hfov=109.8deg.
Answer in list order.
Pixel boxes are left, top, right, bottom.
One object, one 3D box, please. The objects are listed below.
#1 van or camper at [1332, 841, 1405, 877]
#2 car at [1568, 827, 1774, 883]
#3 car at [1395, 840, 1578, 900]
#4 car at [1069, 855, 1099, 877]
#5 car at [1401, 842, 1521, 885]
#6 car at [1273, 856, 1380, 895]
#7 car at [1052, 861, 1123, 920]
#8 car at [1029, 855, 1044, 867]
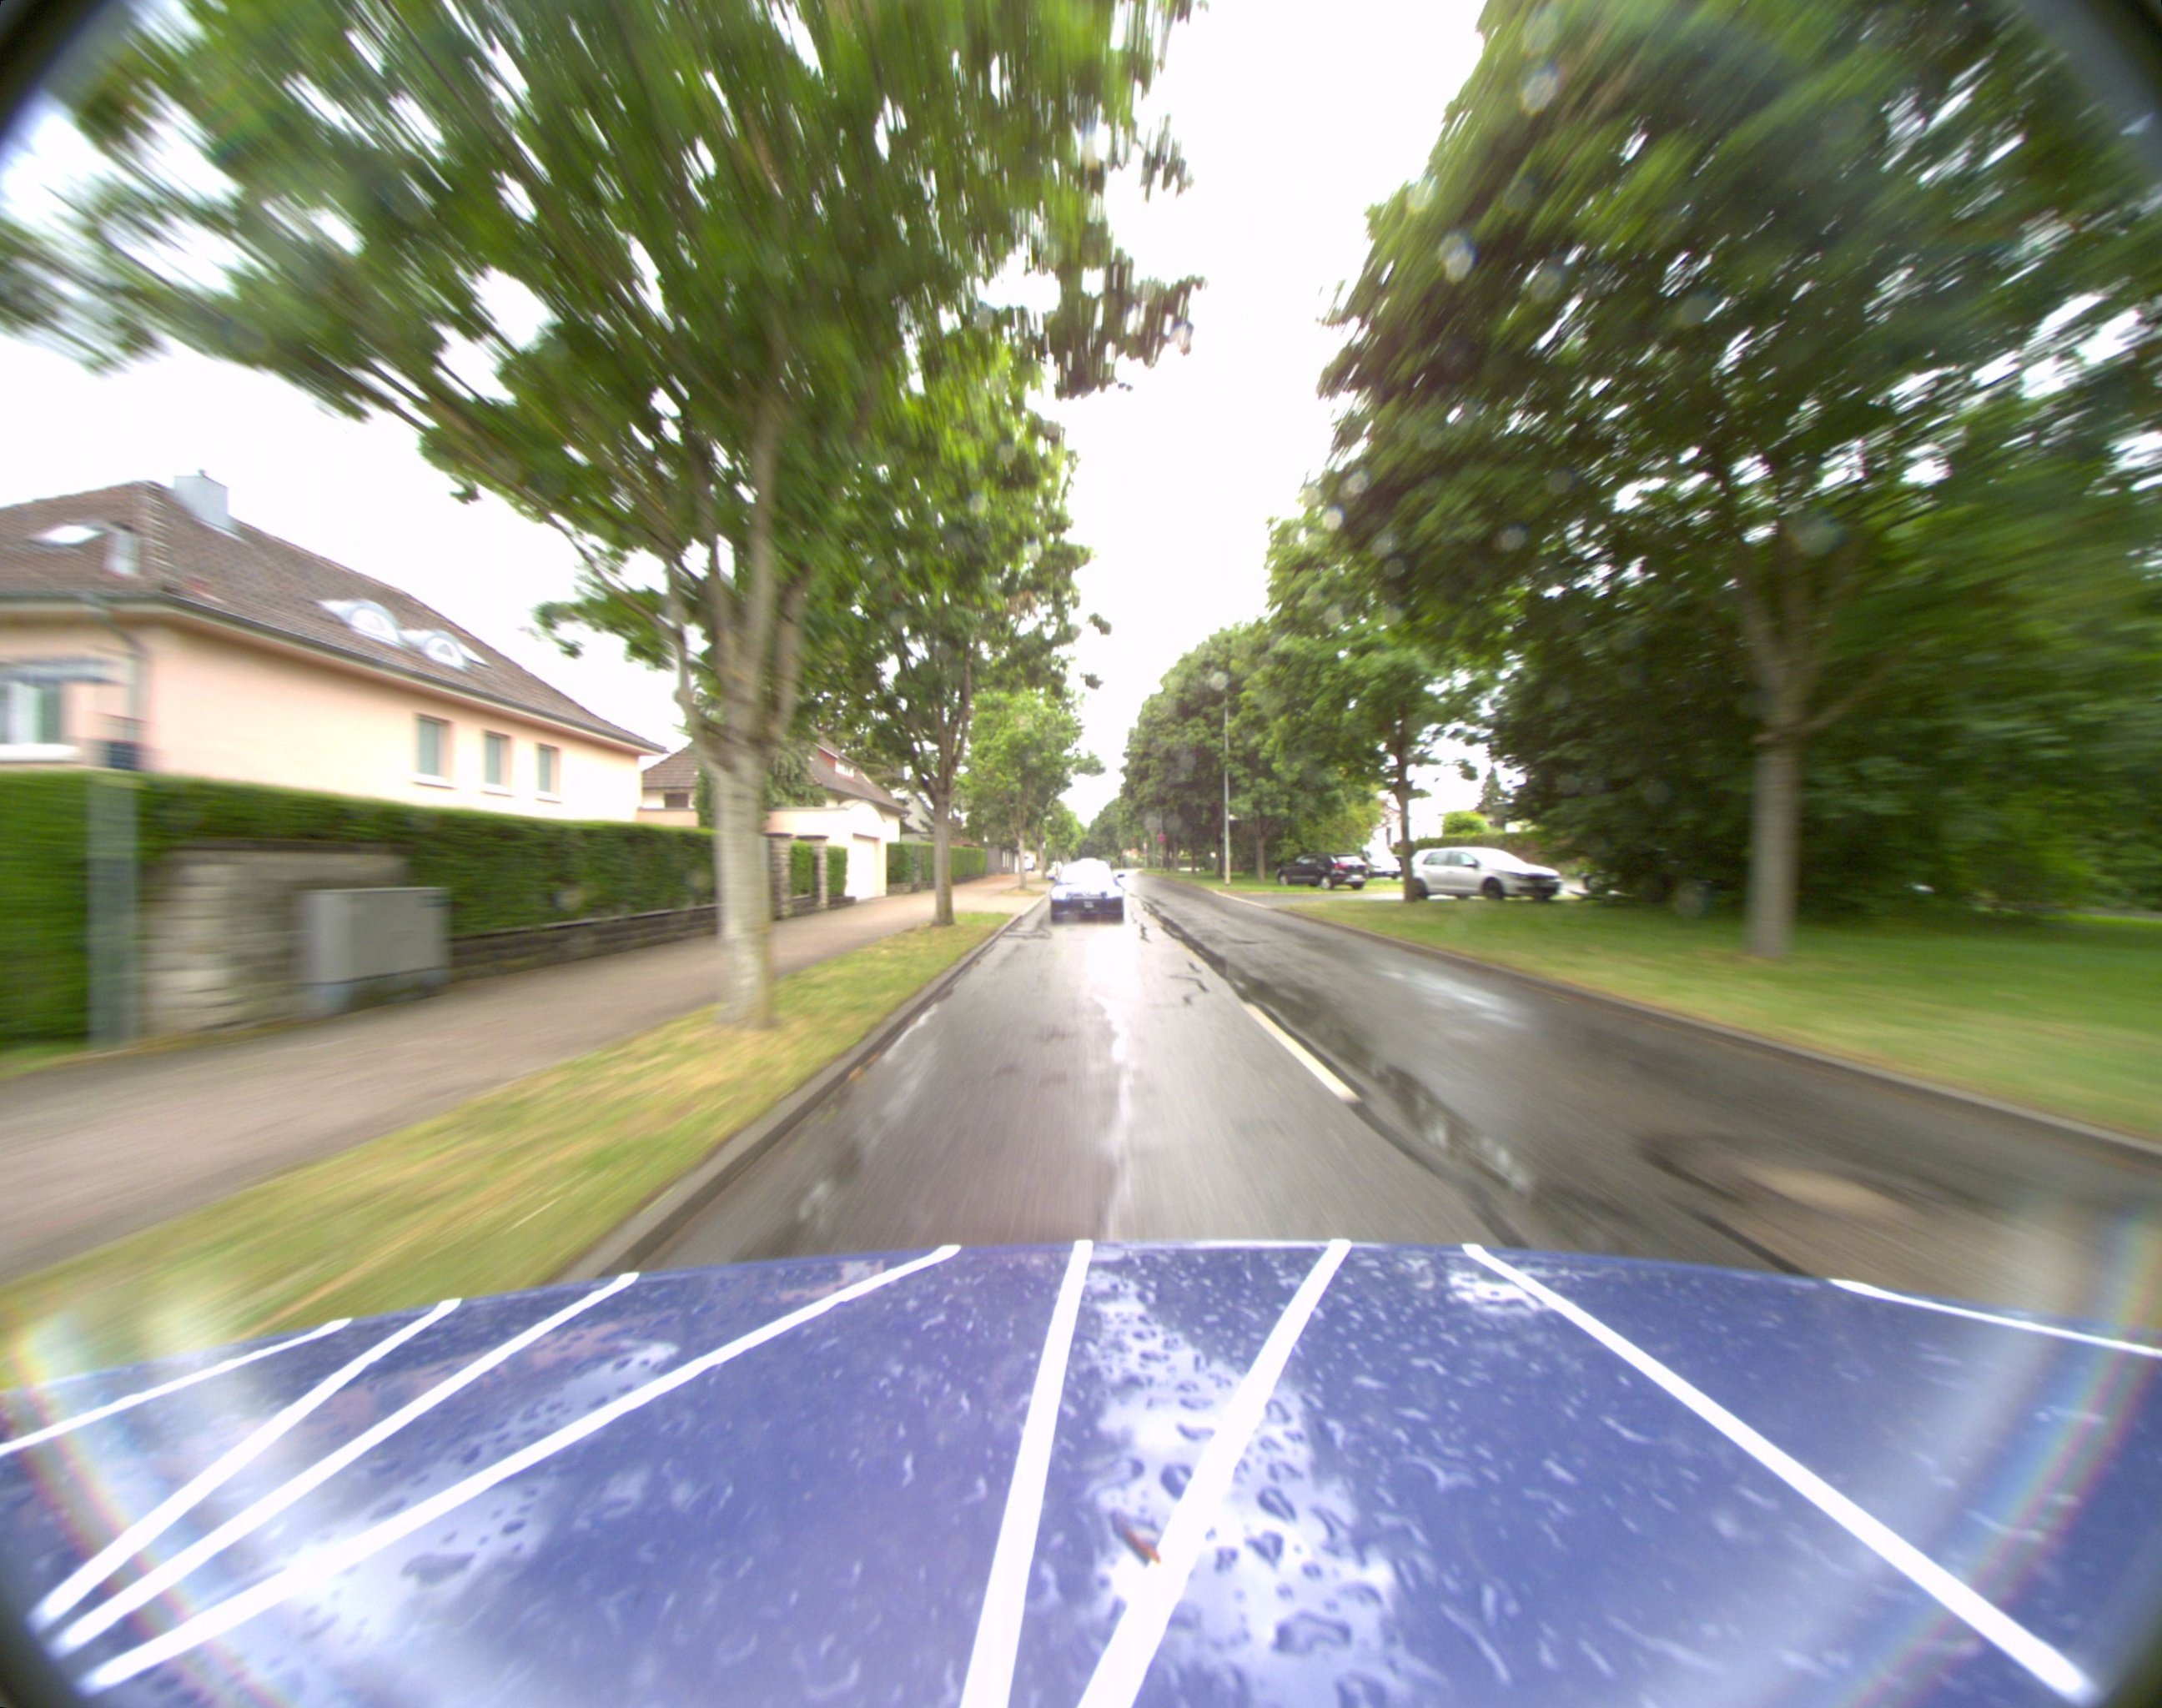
[{"bbox_3d":[20.014,0.355,53.261,2.096,2.322,6.150,0,0,-8],"label":"van or camper"},{"bbox_3d":[17.756,0.107,23.188,1.870,1.499,4.600,0,-2,-22],"label":"car"},{"bbox_3d":[10.759,0.477,20.549,1.888,1.421,4.212,0,-2,-17],"label":"car"},{"bbox_3d":[0.199,0.807,52.906,1.929,1.374,4.307,-3,0,0],"label":"car"},{"bbox_3d":[17.088,0.364,34.464,1.911,1.760,4.889,0,2,-19],"label":"car"},{"bbox_3d":[10.114,0.829,31.643,1.897,1.505,4.241,0,0,-24],"label":"car"},{"bbox_3d":[0.214,0.958,21.720,1.815,1.459,3.975,-2,0,1],"label":"car"},{"bbox_3d":[-5.811,0.923,99.459,1.666,1.413,4.000,-3,0,1],"label":"car"}]
